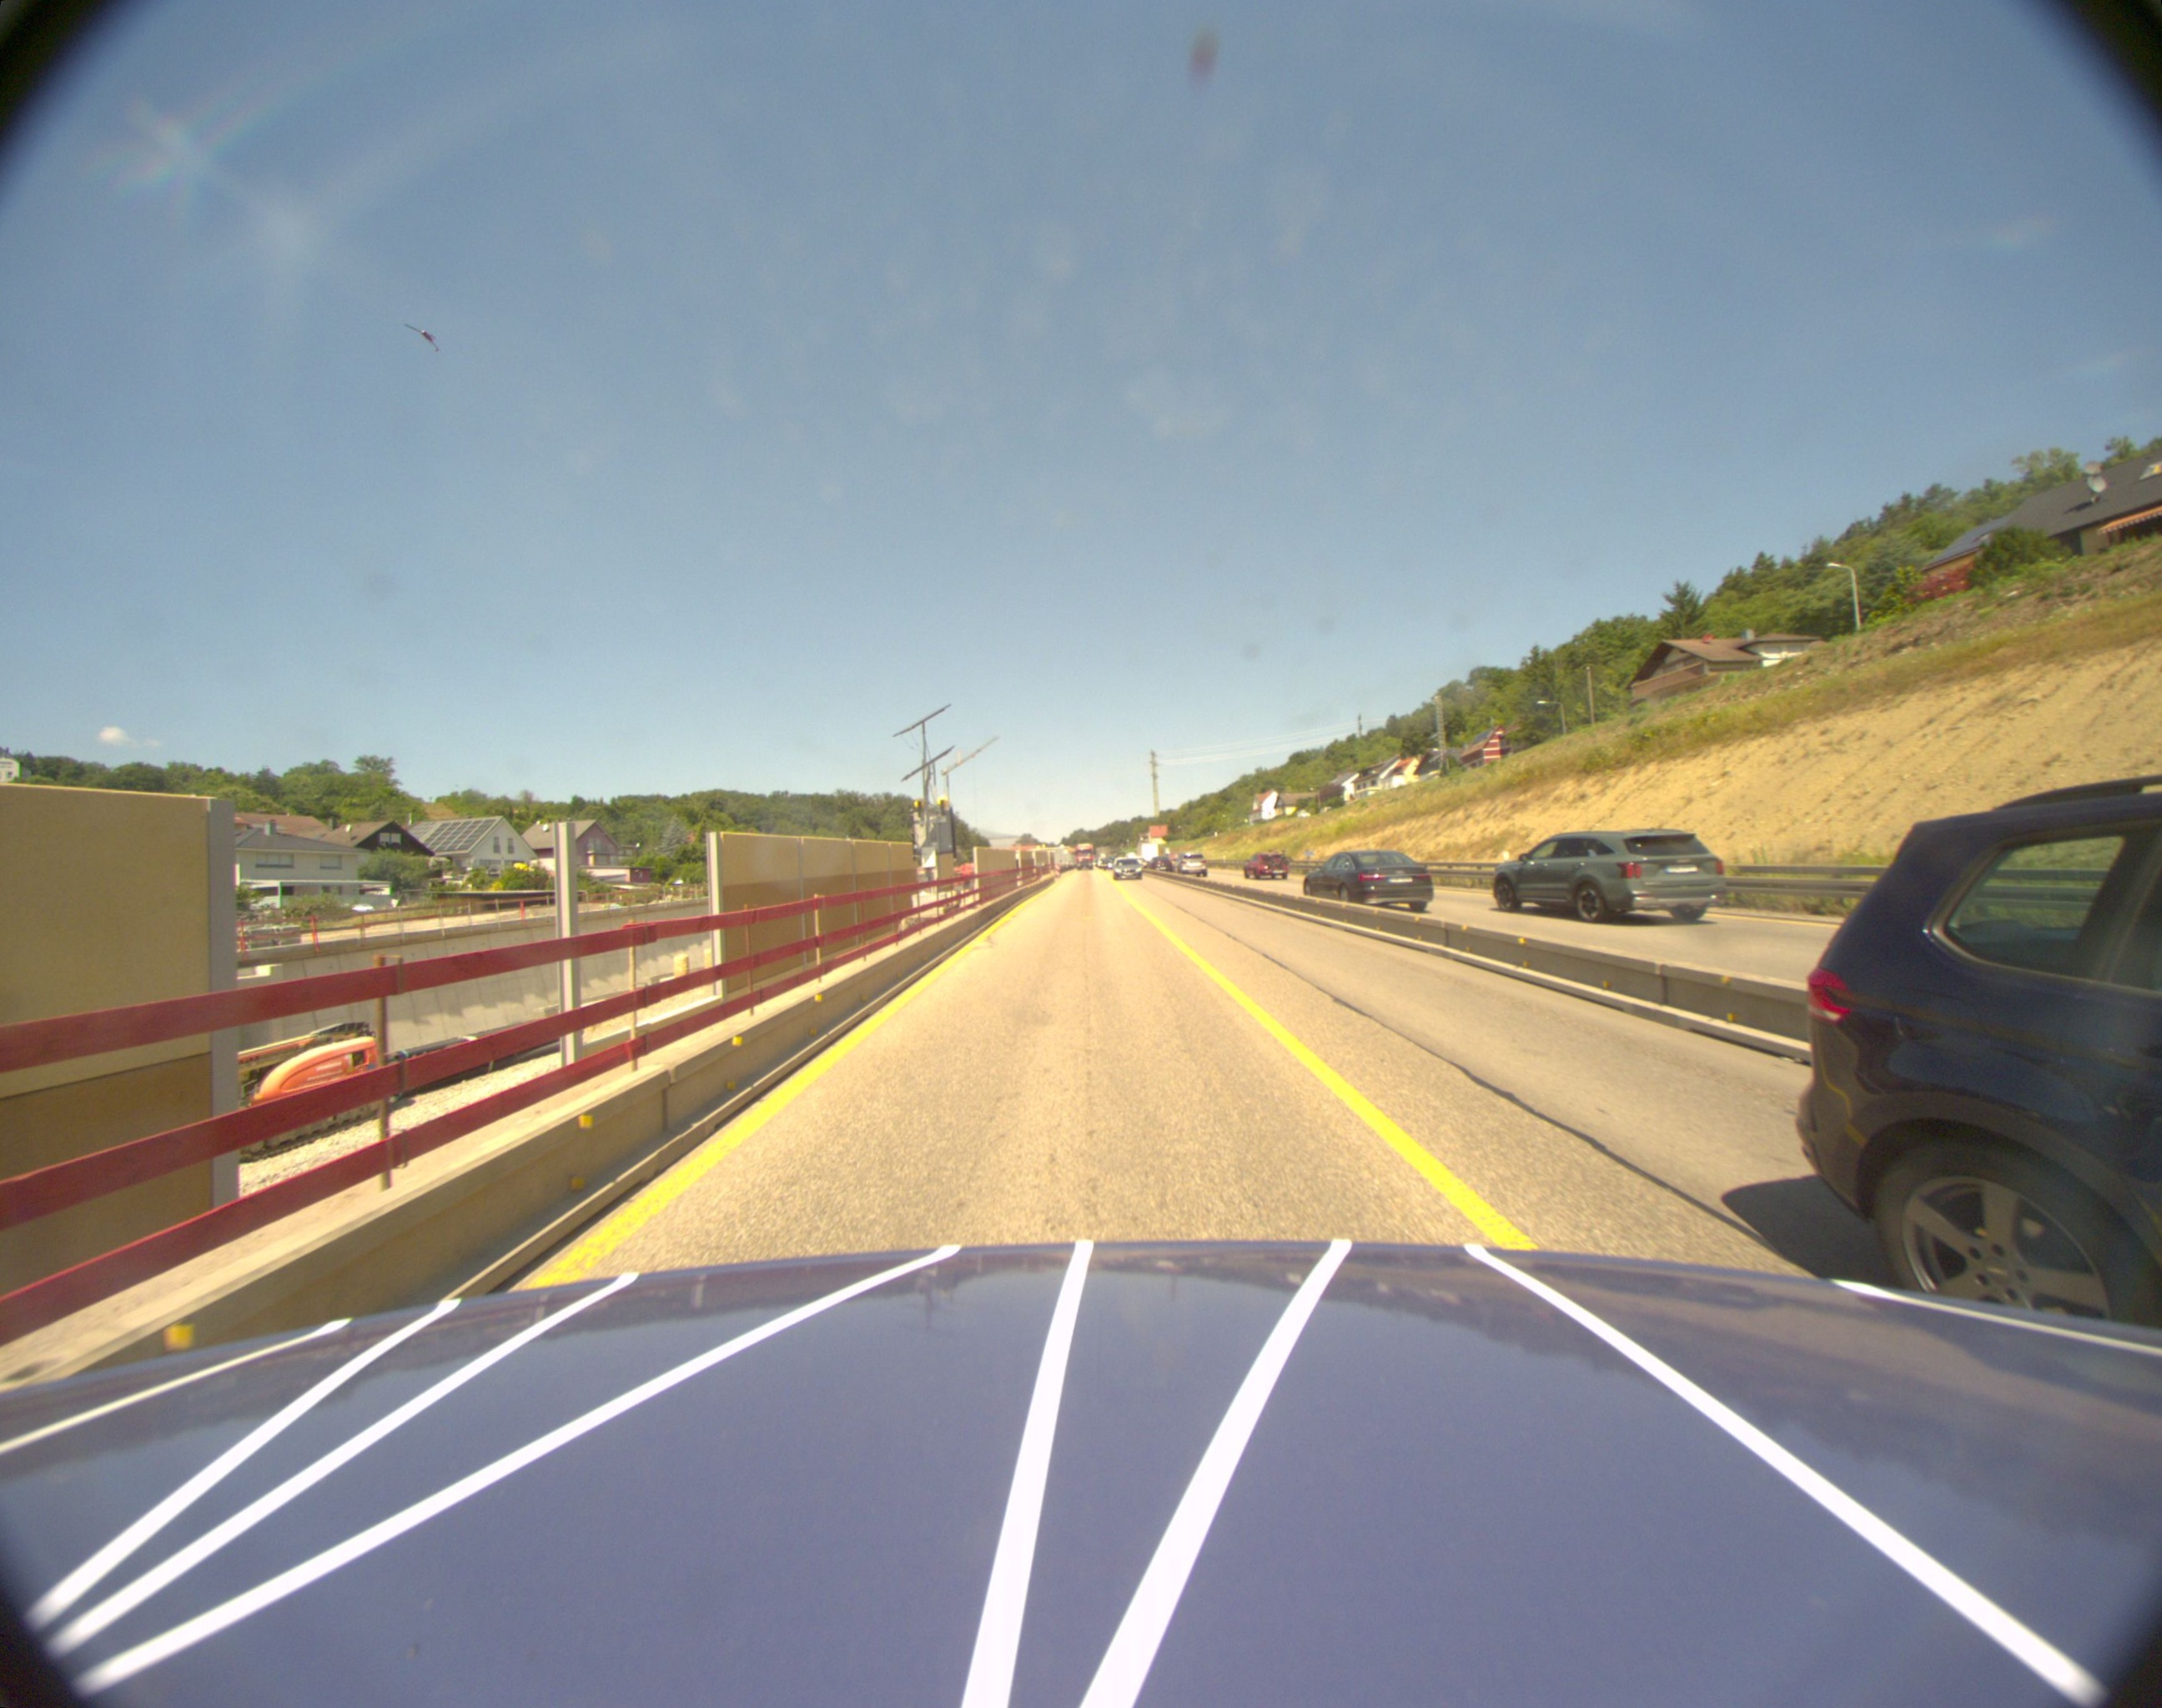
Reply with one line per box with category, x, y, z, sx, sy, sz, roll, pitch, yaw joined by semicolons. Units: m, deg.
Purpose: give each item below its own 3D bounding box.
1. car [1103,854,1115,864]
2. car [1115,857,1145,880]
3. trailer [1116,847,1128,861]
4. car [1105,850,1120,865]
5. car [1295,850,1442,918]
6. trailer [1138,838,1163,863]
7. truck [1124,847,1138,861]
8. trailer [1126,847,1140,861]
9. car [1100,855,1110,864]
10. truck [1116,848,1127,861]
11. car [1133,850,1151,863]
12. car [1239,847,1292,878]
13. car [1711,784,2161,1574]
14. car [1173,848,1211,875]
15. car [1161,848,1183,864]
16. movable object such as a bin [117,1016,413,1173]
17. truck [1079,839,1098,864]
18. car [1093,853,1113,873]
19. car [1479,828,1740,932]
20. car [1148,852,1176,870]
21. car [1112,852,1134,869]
car;4.297;0.817;117.969;1.780;1.485;4.336;-2;-1;1
car;3.223;0.956;50.727;1.780;1.447;4.336;-2;-1;1
trailer;12.165;0.128;225.281;2.920;3.915;10.527;-2;0;1
car;4.050;0.480;98.854;1.780;1.727;4.336;-2;-1;1
car;6.956;0.644;19.012;1.801;1.419;4.949;-2;0;0
trailer;11.966;-0.551;131.859;2.793;4.157;13.978;-2;0;0
truck;11.823;-0.027;178.885;2.733;3.124;8.959;-3;0;1
trailer;11.748;0.033;171.113;2.619;2.983;6.370;-3;0;1
car;4.256;1.063;135.281;1.780;1.485;4.336;-2;-1;1
truck;12.227;0.157;231.221;2.902;3.915;4.178;-2;0;0
car;7.764;0.298;97.687;1.844;1.644;5.371;-2;0;0
car;10.203;0.439;42.303;1.689;1.576;5.126;-3;0;0
car;3.177;0.651;0.419;1.780;1.708;4.653;-2;-1;1
car;7.407;0.496;51.197;1.849;1.656;4.688;-3;0;1
car;11.122;0.209;93.213;2.043;1.915;5.121;-1;0;0
movable object such as a bin;-20.508;5.935;19.493;2.615;2.475;4.454;-4;0;0
truck;1.259;-0.264;119.580;2.605;3.704;10.537;-2;-1;1
car;2.057;0.855;71.572;1.780;1.682;4.336;-2;-1;1
car;10.011;0.430;14.962;1.858;1.662;4.668;-2;0;0
car;7.216;0.586;68.078;1.960;1.490;5.090;-3;0;1
car;3.800;0.609;69.152;1.780;1.447;4.336;-2;-1;1
